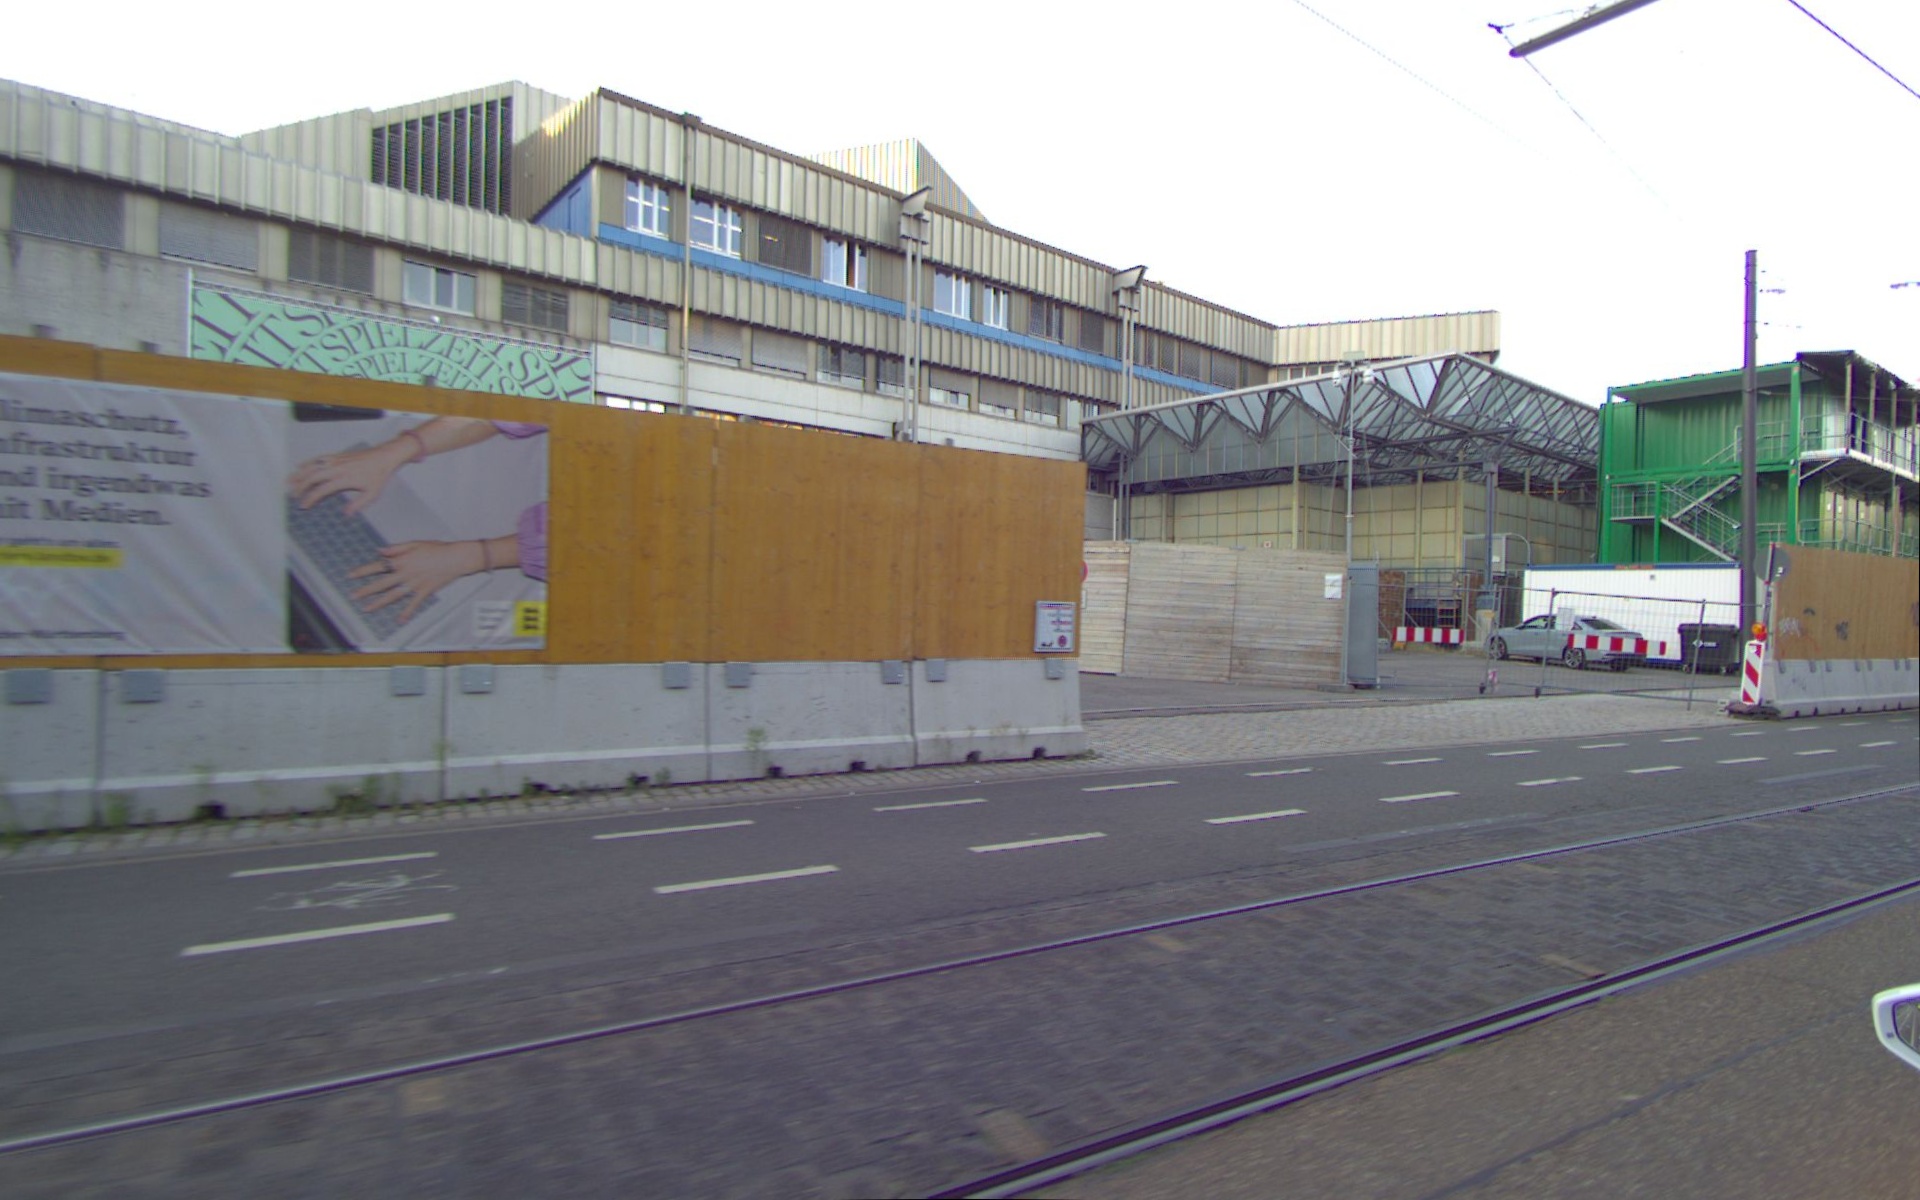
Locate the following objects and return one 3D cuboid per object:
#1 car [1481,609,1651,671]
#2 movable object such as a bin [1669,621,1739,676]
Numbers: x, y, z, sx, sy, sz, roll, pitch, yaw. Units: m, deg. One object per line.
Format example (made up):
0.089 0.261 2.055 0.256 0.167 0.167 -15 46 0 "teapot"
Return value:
16.890 1.078 28.251 1.707 1.421 3.994 1 2 -15 "car"
19.980 1.292 26.993 0.776 1.388 1.298 1 0 -33 "movable object such as a bin"
